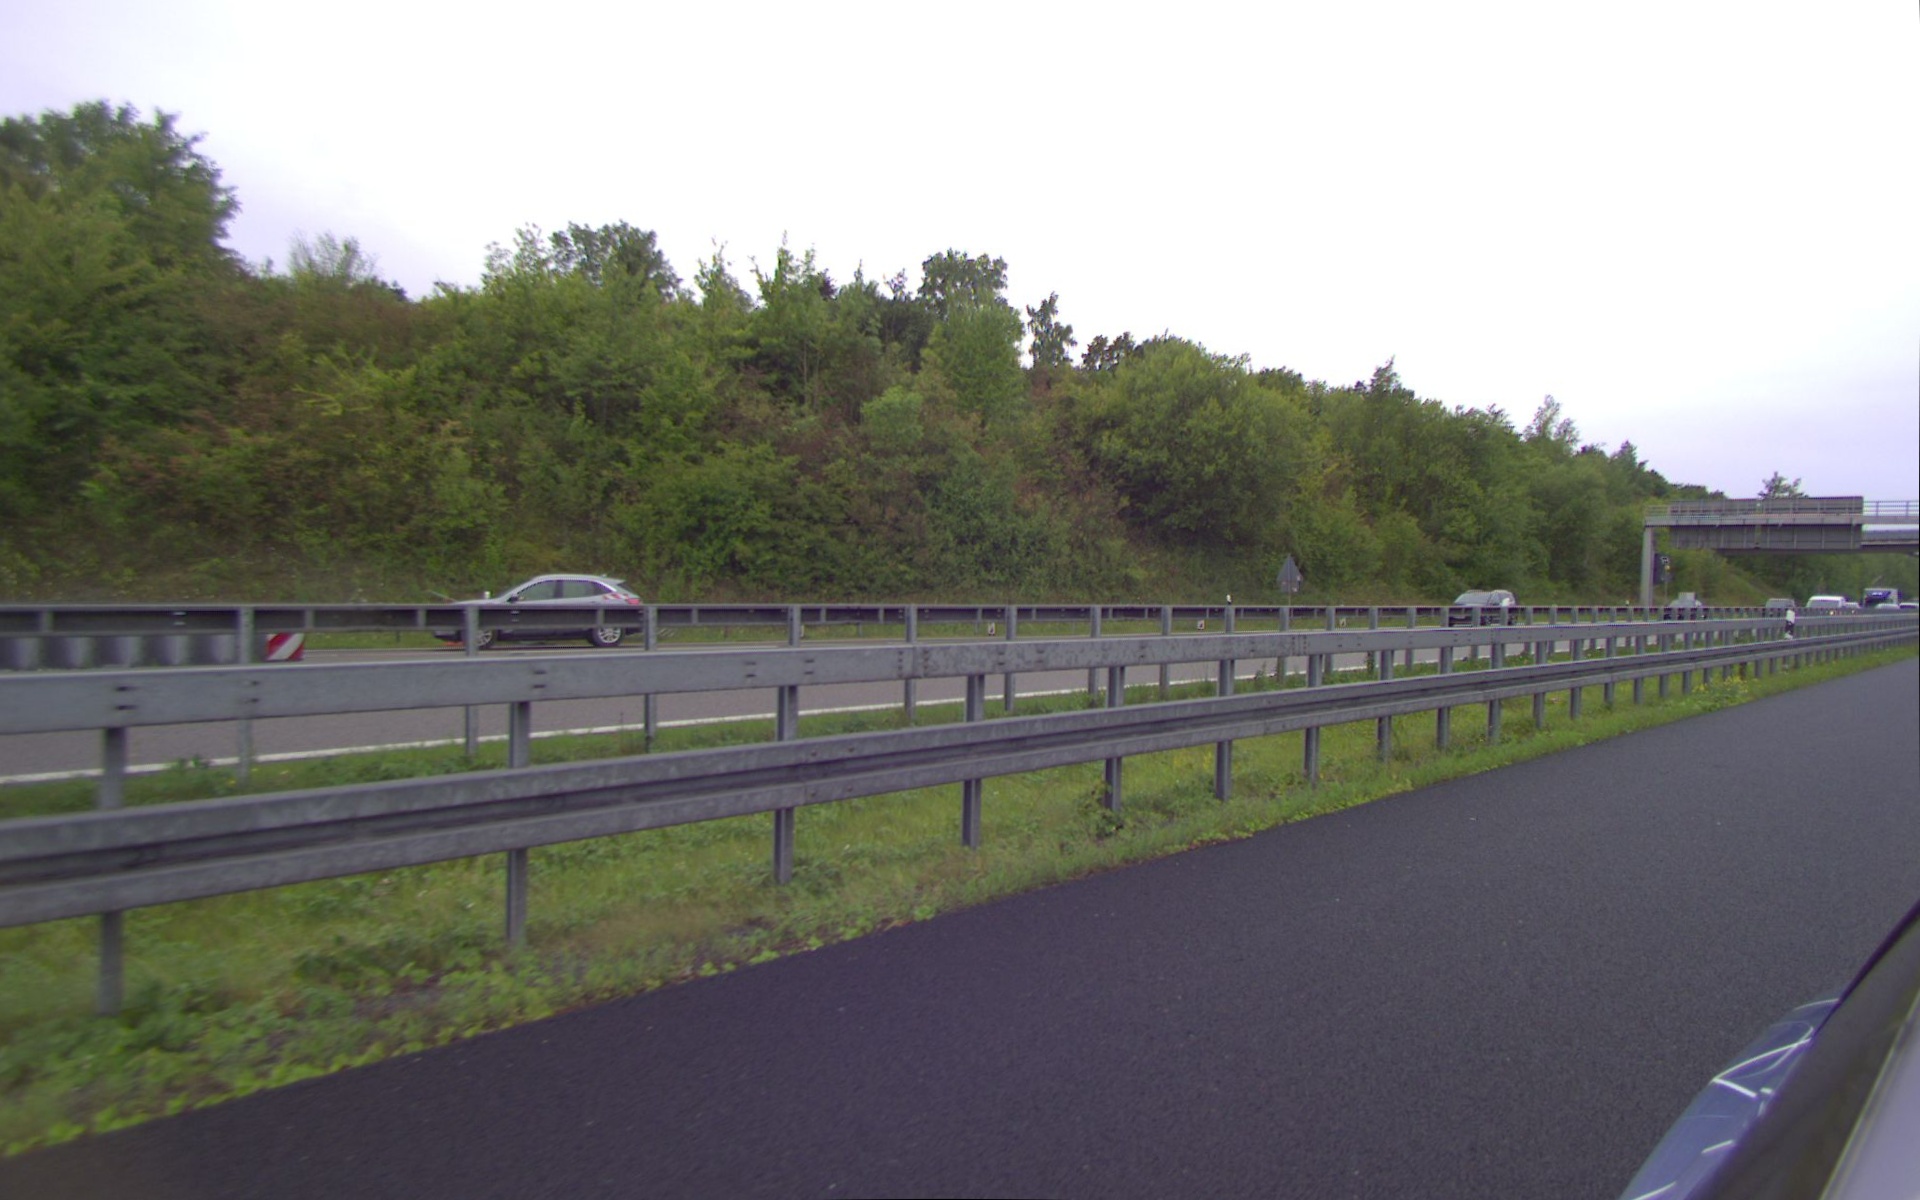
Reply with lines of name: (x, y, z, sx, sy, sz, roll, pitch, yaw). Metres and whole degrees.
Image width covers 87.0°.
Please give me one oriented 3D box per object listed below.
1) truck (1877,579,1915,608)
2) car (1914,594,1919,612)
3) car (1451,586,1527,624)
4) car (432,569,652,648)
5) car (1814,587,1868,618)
truck: (114.017, -0.794, 123.282, 9.129, 3.460, 2.904, 0, 1, -44)
car: (99.099, 0.301, 103.365, 4.201, 1.837, 2.012, 0, 1, -41)
car: (23.482, 0.183, 44.852, 1.861, 1.602, 4.172, 1, 1, 45)
car: (-9.376, 0.151, 22.761, 4.407, 1.634, 1.869, 0, 1, -28)
car: (53.506, 0.131, 61.423, 4.567, 1.827, 1.863, 0, 1, -41)
